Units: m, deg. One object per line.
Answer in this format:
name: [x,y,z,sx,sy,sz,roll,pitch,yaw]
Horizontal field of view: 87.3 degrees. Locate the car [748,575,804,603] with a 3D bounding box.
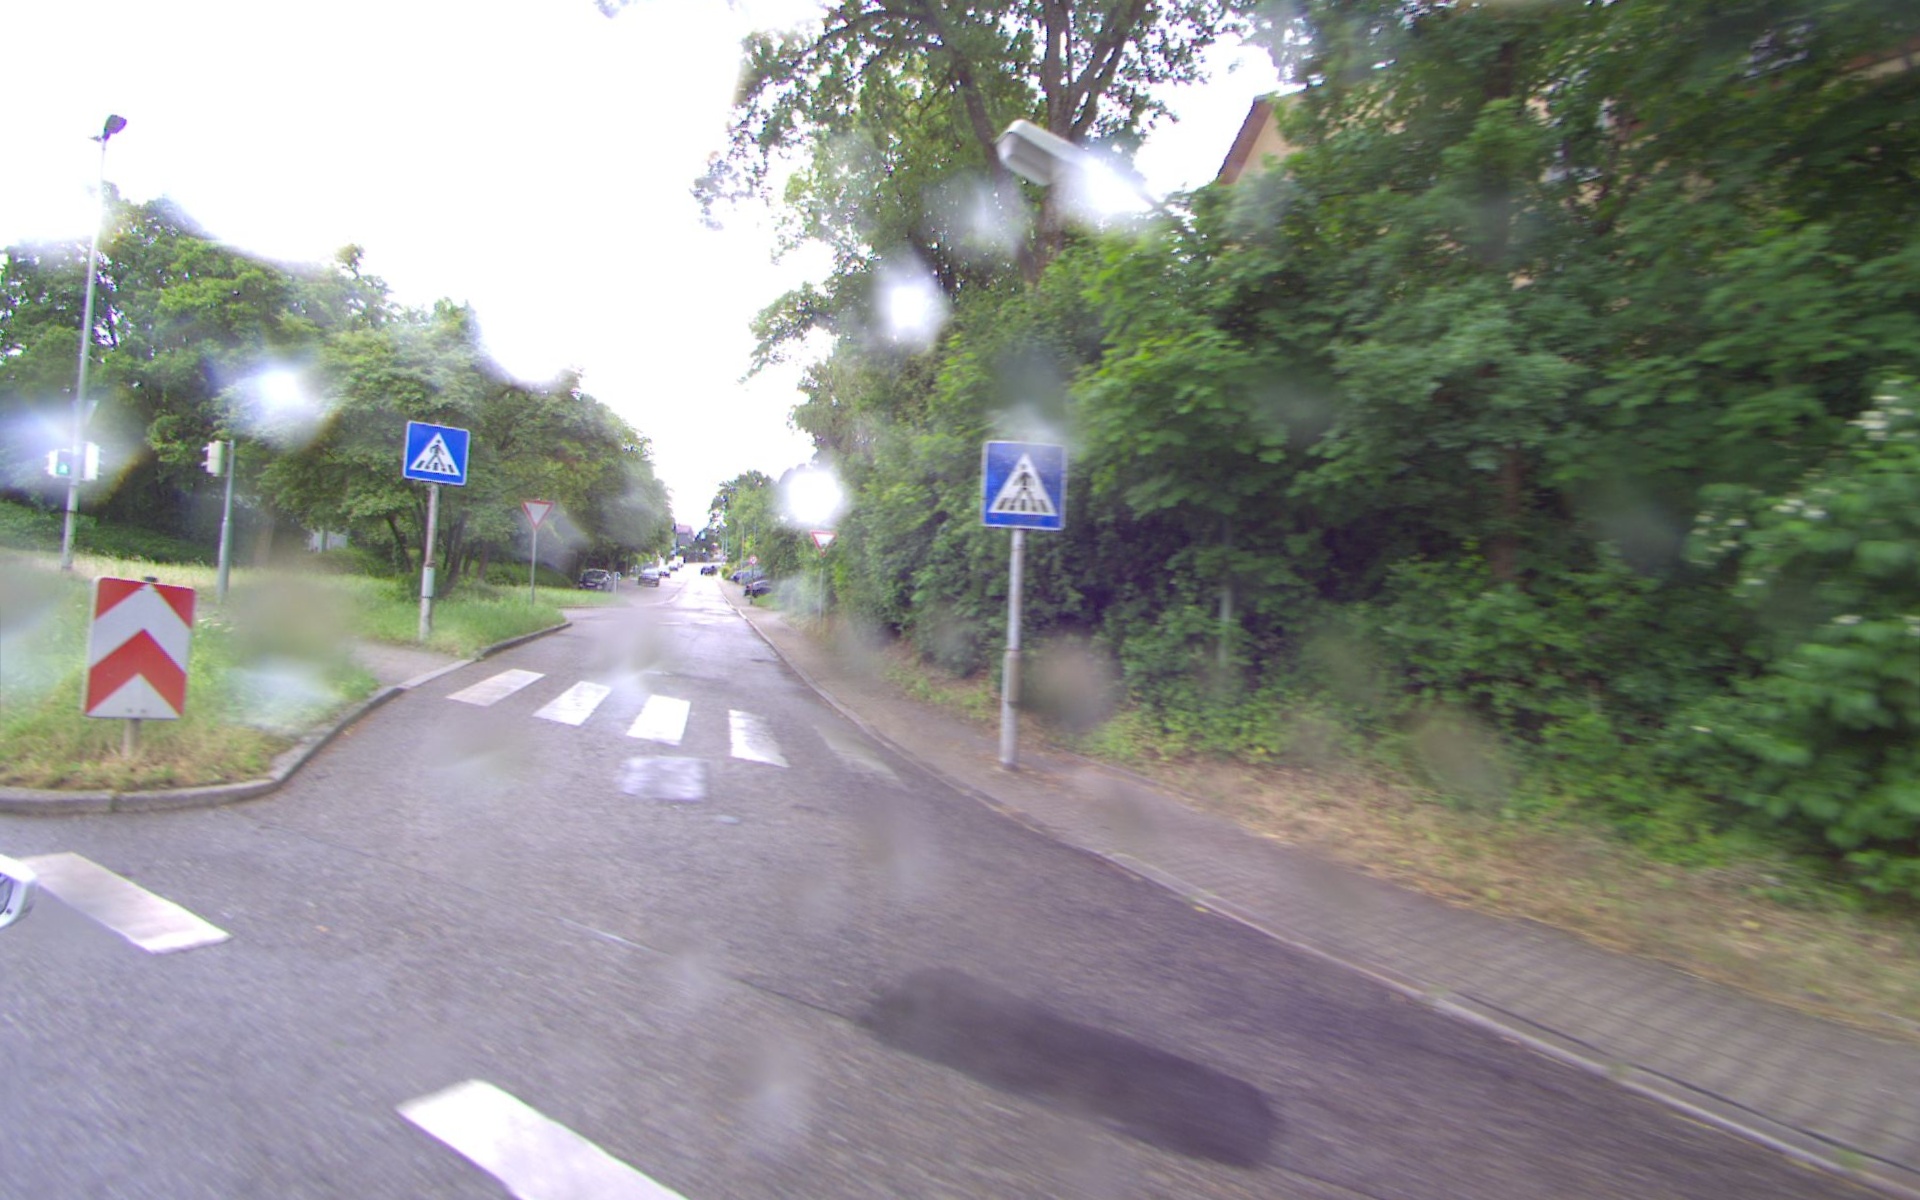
car: [-14.156,-0.814,77.403,3.937,1.668,1.951,7,0,-15]

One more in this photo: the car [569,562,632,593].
car: [-23.628,-1.463,66.246,1.793,1.590,4.002,6,-1,15]

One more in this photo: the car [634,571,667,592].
car: [-28.440,-1.645,92.546,1.672,1.462,4.002,7,-3,-2]

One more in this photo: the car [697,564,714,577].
car: [-37.366,-4.357,147.482,1.919,1.474,4.201,8,-3,-19]
